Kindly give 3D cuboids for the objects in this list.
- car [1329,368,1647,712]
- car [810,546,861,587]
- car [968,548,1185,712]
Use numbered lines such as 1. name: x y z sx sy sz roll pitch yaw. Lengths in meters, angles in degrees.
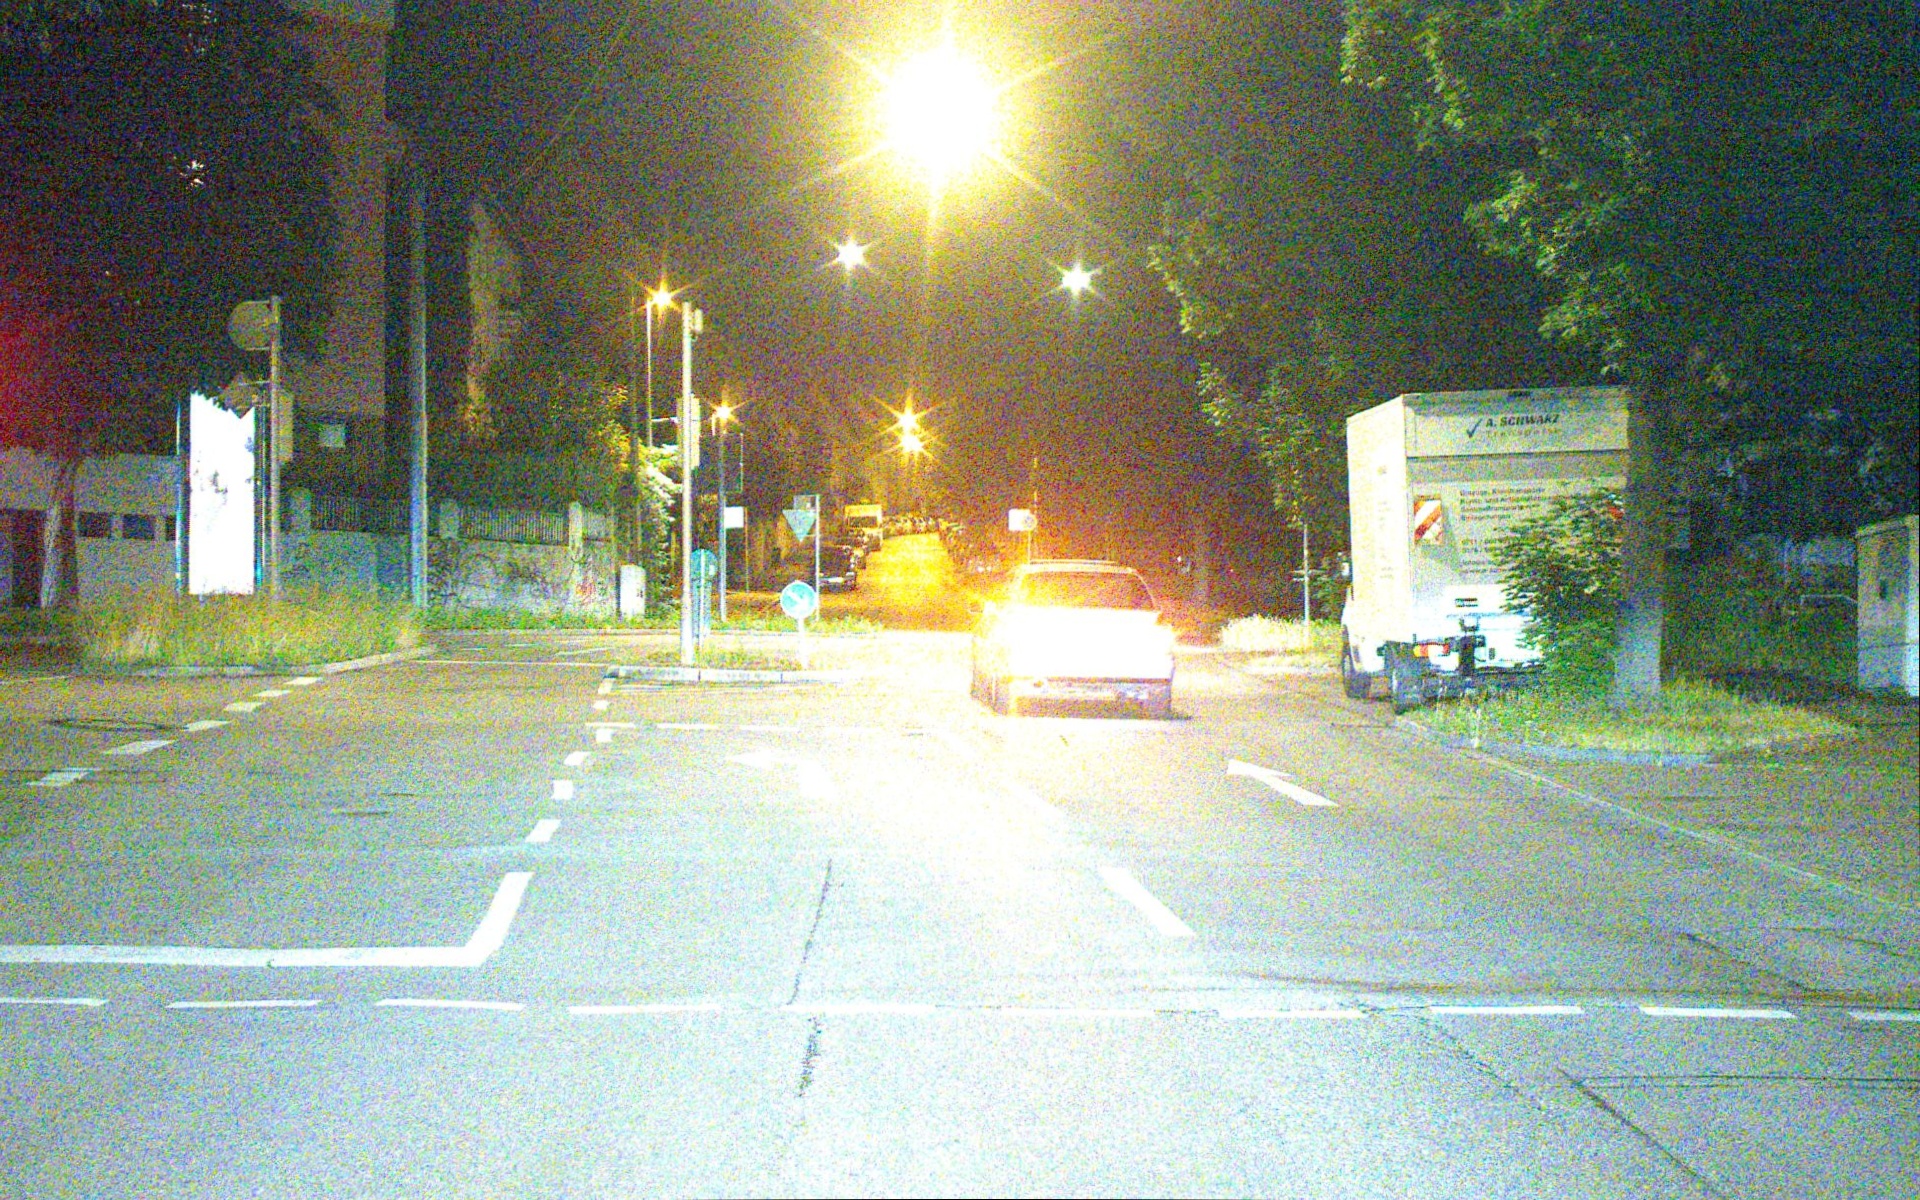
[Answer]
1. car: 5.118 -0.577 34.221 2.297 3.082 5.840 -1 1 1
2. car: -4.849 -1.301 134.381 1.908 1.552 3.904 1 1 -1
3. car: 1.076 0.257 33.569 1.776 1.481 4.000 1 1 -3
